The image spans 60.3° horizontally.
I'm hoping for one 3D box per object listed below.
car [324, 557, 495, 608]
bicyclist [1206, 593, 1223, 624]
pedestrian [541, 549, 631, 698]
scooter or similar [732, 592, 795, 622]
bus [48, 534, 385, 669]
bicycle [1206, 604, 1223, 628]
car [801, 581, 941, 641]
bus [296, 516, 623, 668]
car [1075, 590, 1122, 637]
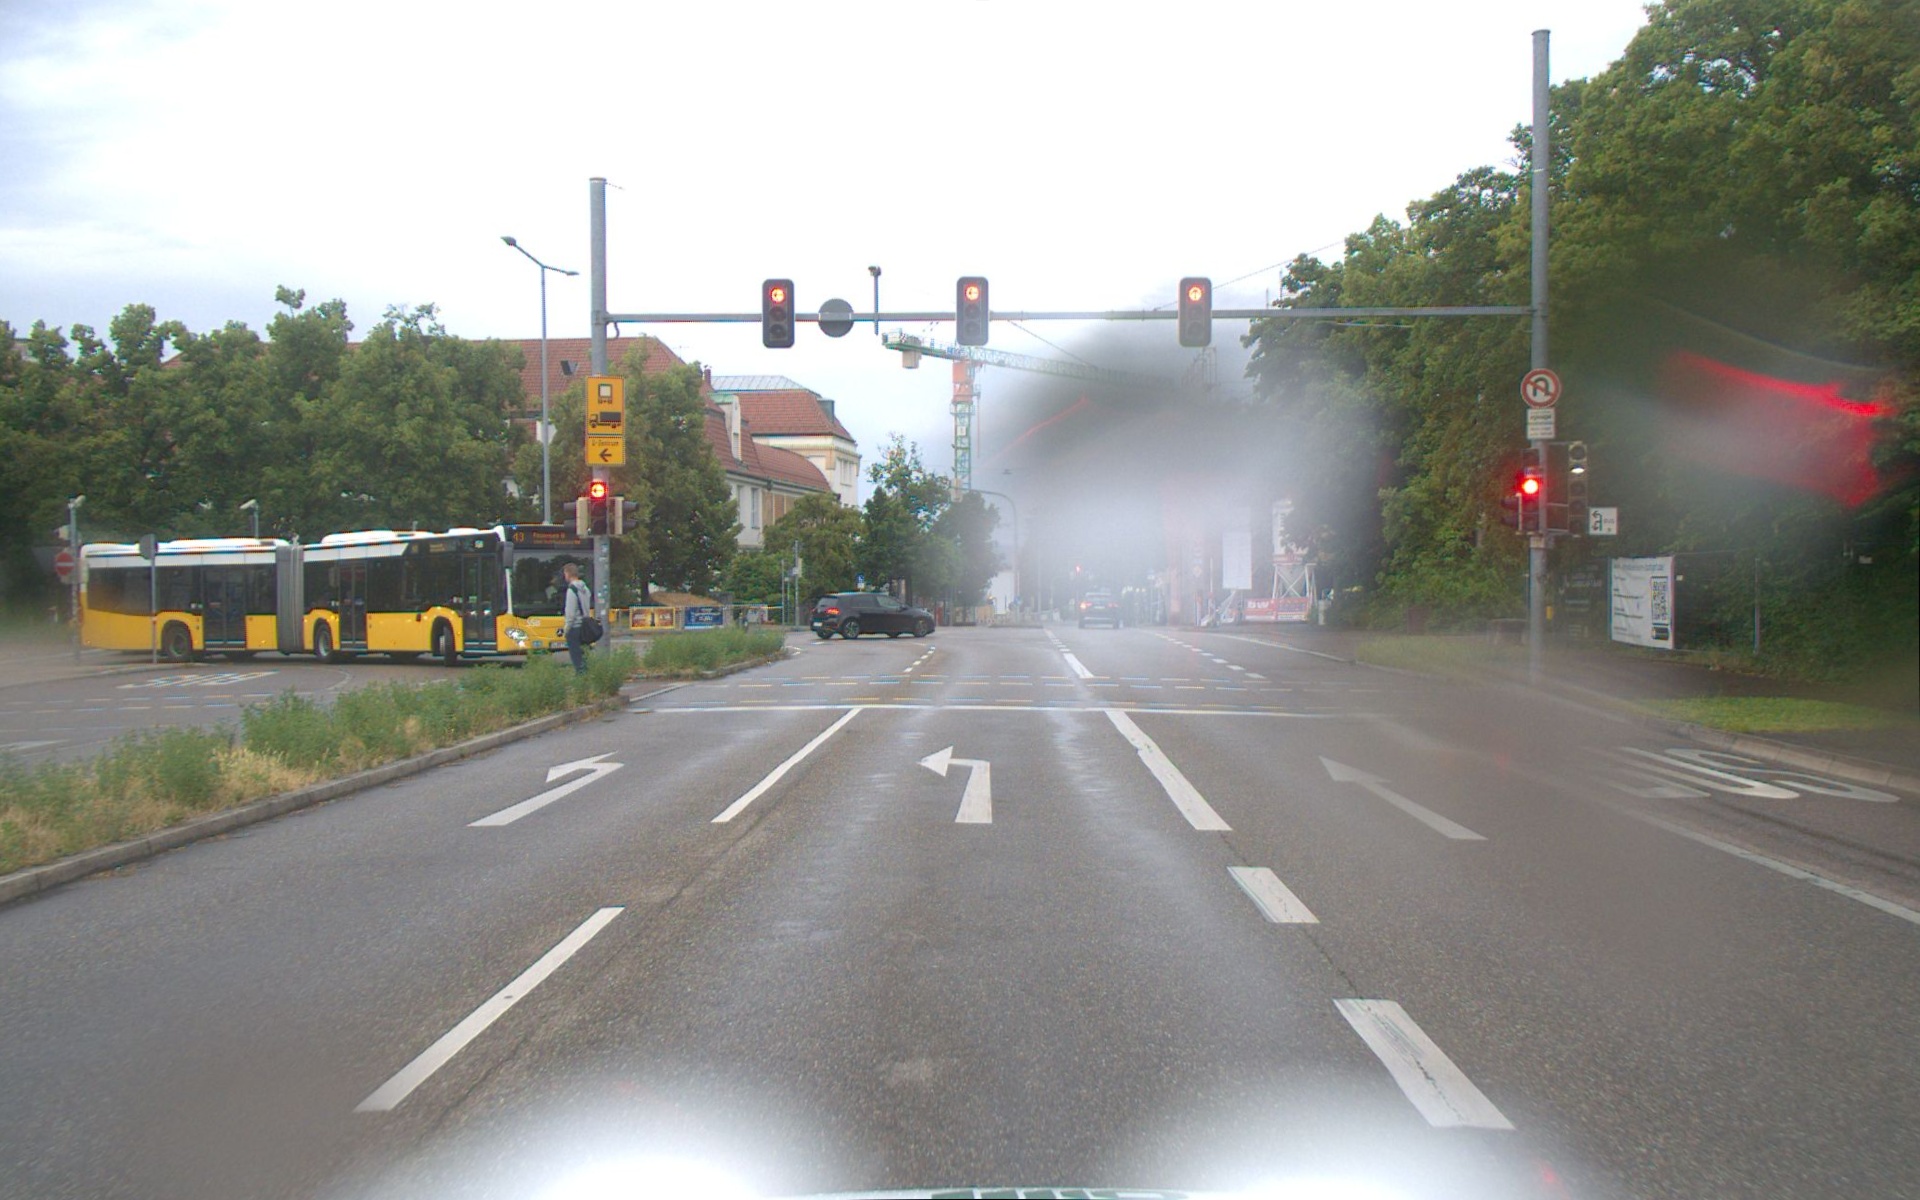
[{"bbox_3d":[-15.981,-0.497,48.206,4.420,1.450,1.997,0,0,-8],"label":"car"},{"bbox_3d":[13.126,0.454,85.312,0.705,1.591,1.143,1,-2,3],"label":"bicyclist"},{"bbox_3d":[-5.381,0.332,23.842,0.920,2.048,0.848,-3,0,7],"label":"pedestrian"},{"bbox_3d":[-9.988,0.375,84.161,3.024,1.465,0.949,-1,0,0],"label":"scooter or similar"},{"bbox_3d":[-19.668,0.073,43.758,8.368,3.365,2.899,-1,0,18],"label":"bus"},{"bbox_3d":[13.107,0.847,85.297,0.705,1.214,1.756,1,-1,3],"label":"bicycle"},{"bbox_3d":[-2.809,0.372,52.020,3.939,1.736,1.982,2,-2,-27],"label":"car"},{"bbox_3d":[-11.928,-0.145,38.686,9.585,3.157,2.879,-1,0,43],"label":"bus"},{"bbox_3d":[6.381,0.673,76.626,1.904,2.056,4.551,1,-2,2],"label":"car"}]
